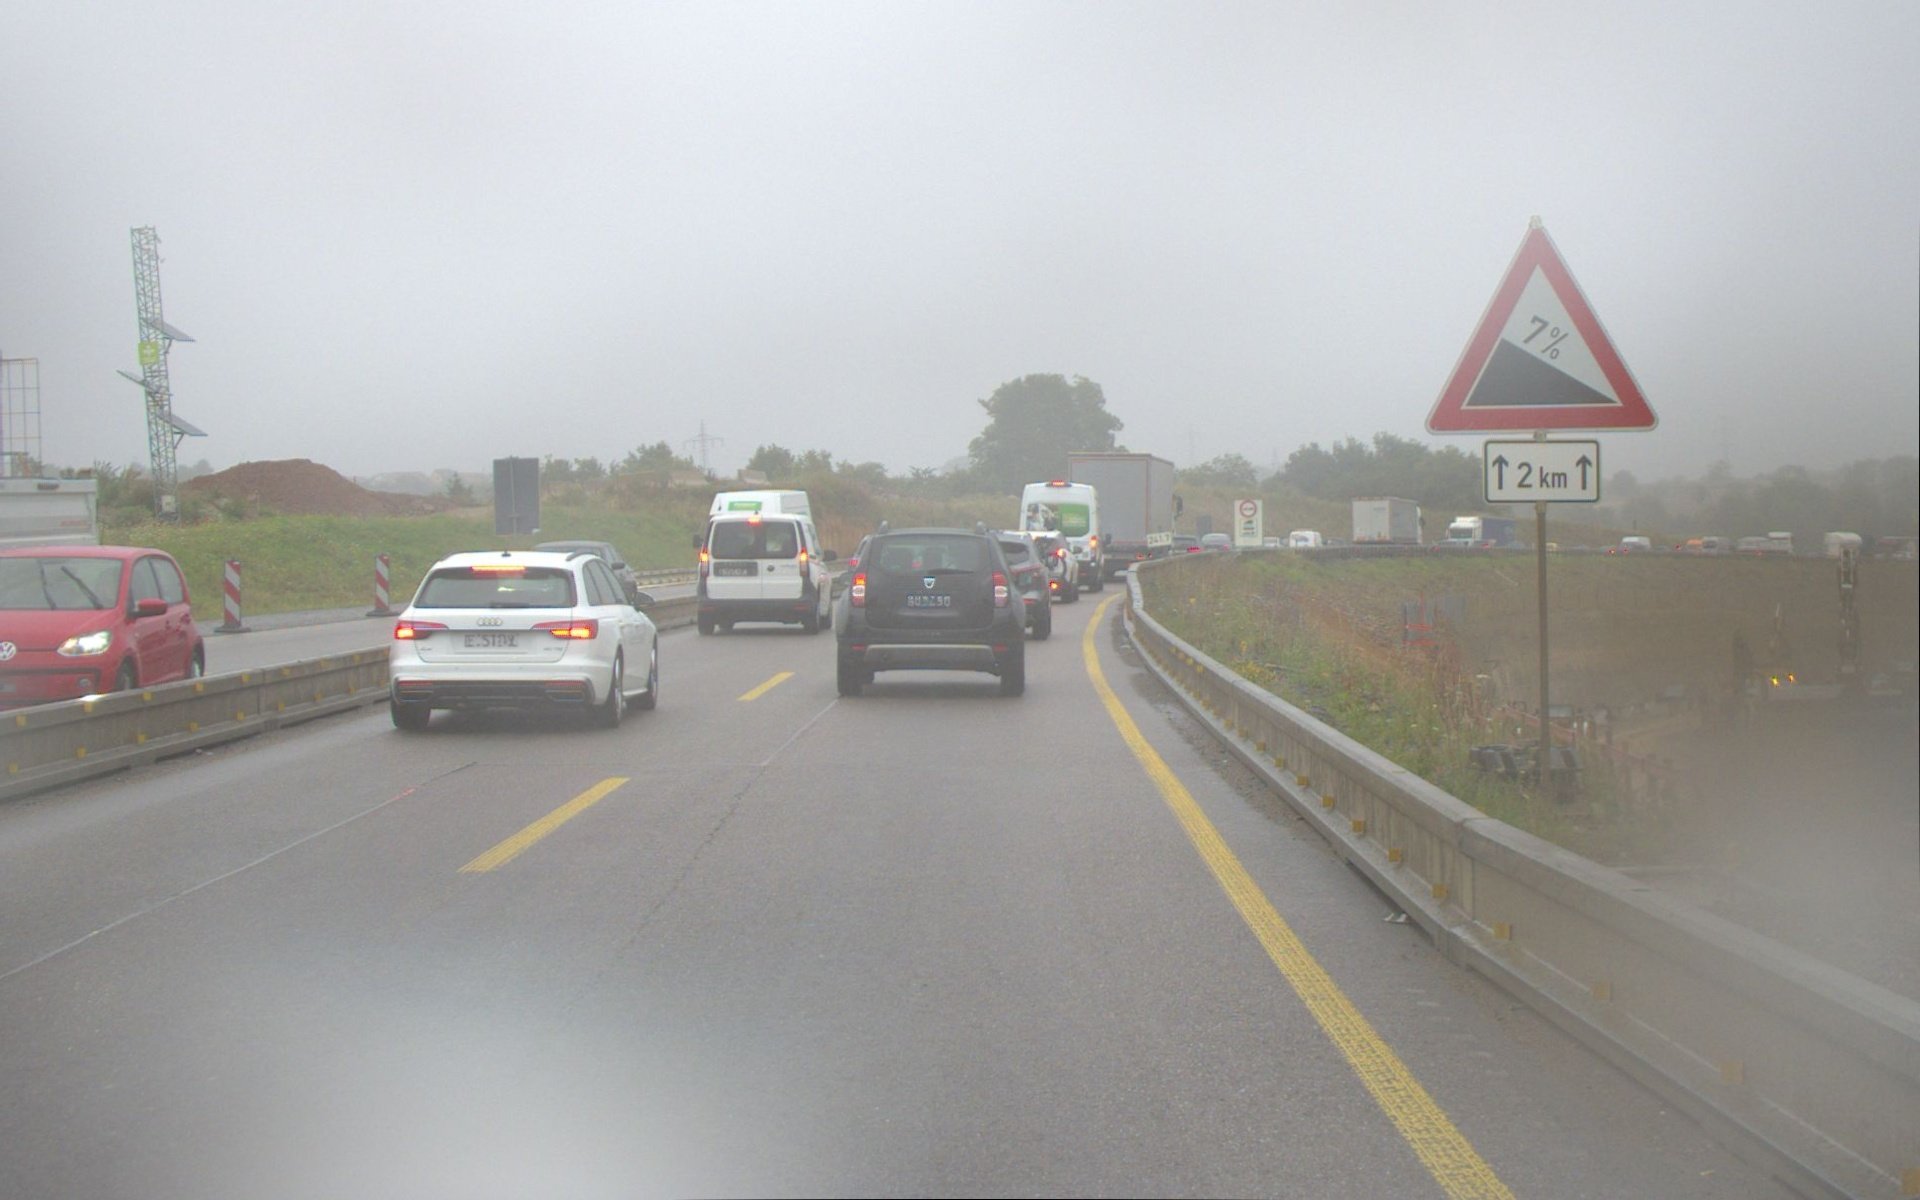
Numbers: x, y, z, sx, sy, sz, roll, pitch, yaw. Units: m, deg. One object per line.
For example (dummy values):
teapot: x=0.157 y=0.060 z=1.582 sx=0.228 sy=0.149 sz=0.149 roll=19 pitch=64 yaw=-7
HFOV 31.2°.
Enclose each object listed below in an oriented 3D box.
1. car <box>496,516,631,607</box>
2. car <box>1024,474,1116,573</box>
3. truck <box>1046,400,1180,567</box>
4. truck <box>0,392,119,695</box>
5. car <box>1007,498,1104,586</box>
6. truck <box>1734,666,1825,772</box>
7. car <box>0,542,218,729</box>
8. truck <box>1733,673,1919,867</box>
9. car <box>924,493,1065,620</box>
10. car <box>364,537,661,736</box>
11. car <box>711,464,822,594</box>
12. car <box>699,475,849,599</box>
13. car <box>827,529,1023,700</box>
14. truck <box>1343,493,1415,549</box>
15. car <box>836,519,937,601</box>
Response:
car: x=-6.738 y=-0.671 z=58.846 sx=1.747 sy=1.490 sz=4.750 roll=0 pitch=1 yaw=0
car: x=2.844 y=-1.933 z=88.087 sx=1.827 sy=2.429 sz=4.156 roll=1 pitch=0 yaw=9
truck: x=5.039 y=-3.644 z=110.756 sx=3.544 sy=5.060 sz=10.439 roll=1 pitch=0 yaw=6
truck: x=-10.297 y=-0.531 z=33.336 sx=2.359 sy=2.884 sz=6.548 roll=-1 pitch=1 yaw=3
car: x=2.086 y=-1.235 z=74.011 sx=1.826 sy=1.809 sz=3.999 roll=1 pitch=0 yaw=5
truck: x=30.087 y=4.293 z=126.491 sx=2.731 sy=3.479 sz=9.061 roll=1 pitch=0 yaw=10
car: x=-7.191 y=0.240 z=27.738 sx=1.637 sy=1.392 sz=3.592 roll=1 pitch=1 yaw=0
truck: x=18.031 y=3.400 z=71.314 sx=2.700 sy=3.491 sz=8.946 roll=1 pitch=0 yaw=5
car: x=0.561 y=-0.644 z=51.647 sx=1.826 sy=1.809 sz=3.999 roll=1 pitch=0 yaw=4
car: x=-3.595 y=0.262 z=28.287 sx=1.826 sy=1.494 sz=4.000 roll=1 pitch=0 yaw=1
car: x=-4.717 y=-1.751 z=84.827 sx=1.994 sy=3.035 sz=7.171 roll=1 pitch=1 yaw=3
car: x=-2.822 y=-0.947 z=52.962 sx=1.826 sy=1.809 sz=4.000 roll=1 pitch=0 yaw=4
car: x=-0.320 y=0.119 z=34.282 sx=1.826 sy=1.585 sz=4.000 roll=1 pitch=0 yaw=0
truck: x=28.224 y=-5.328 z=231.387 sx=3.475 sy=3.702 sz=8.411 roll=0 pitch=1 yaw=16
car: x=-1.645 y=-0.907 z=78.345 sx=1.826 sy=1.809 sz=3.999 roll=1 pitch=0 yaw=5
